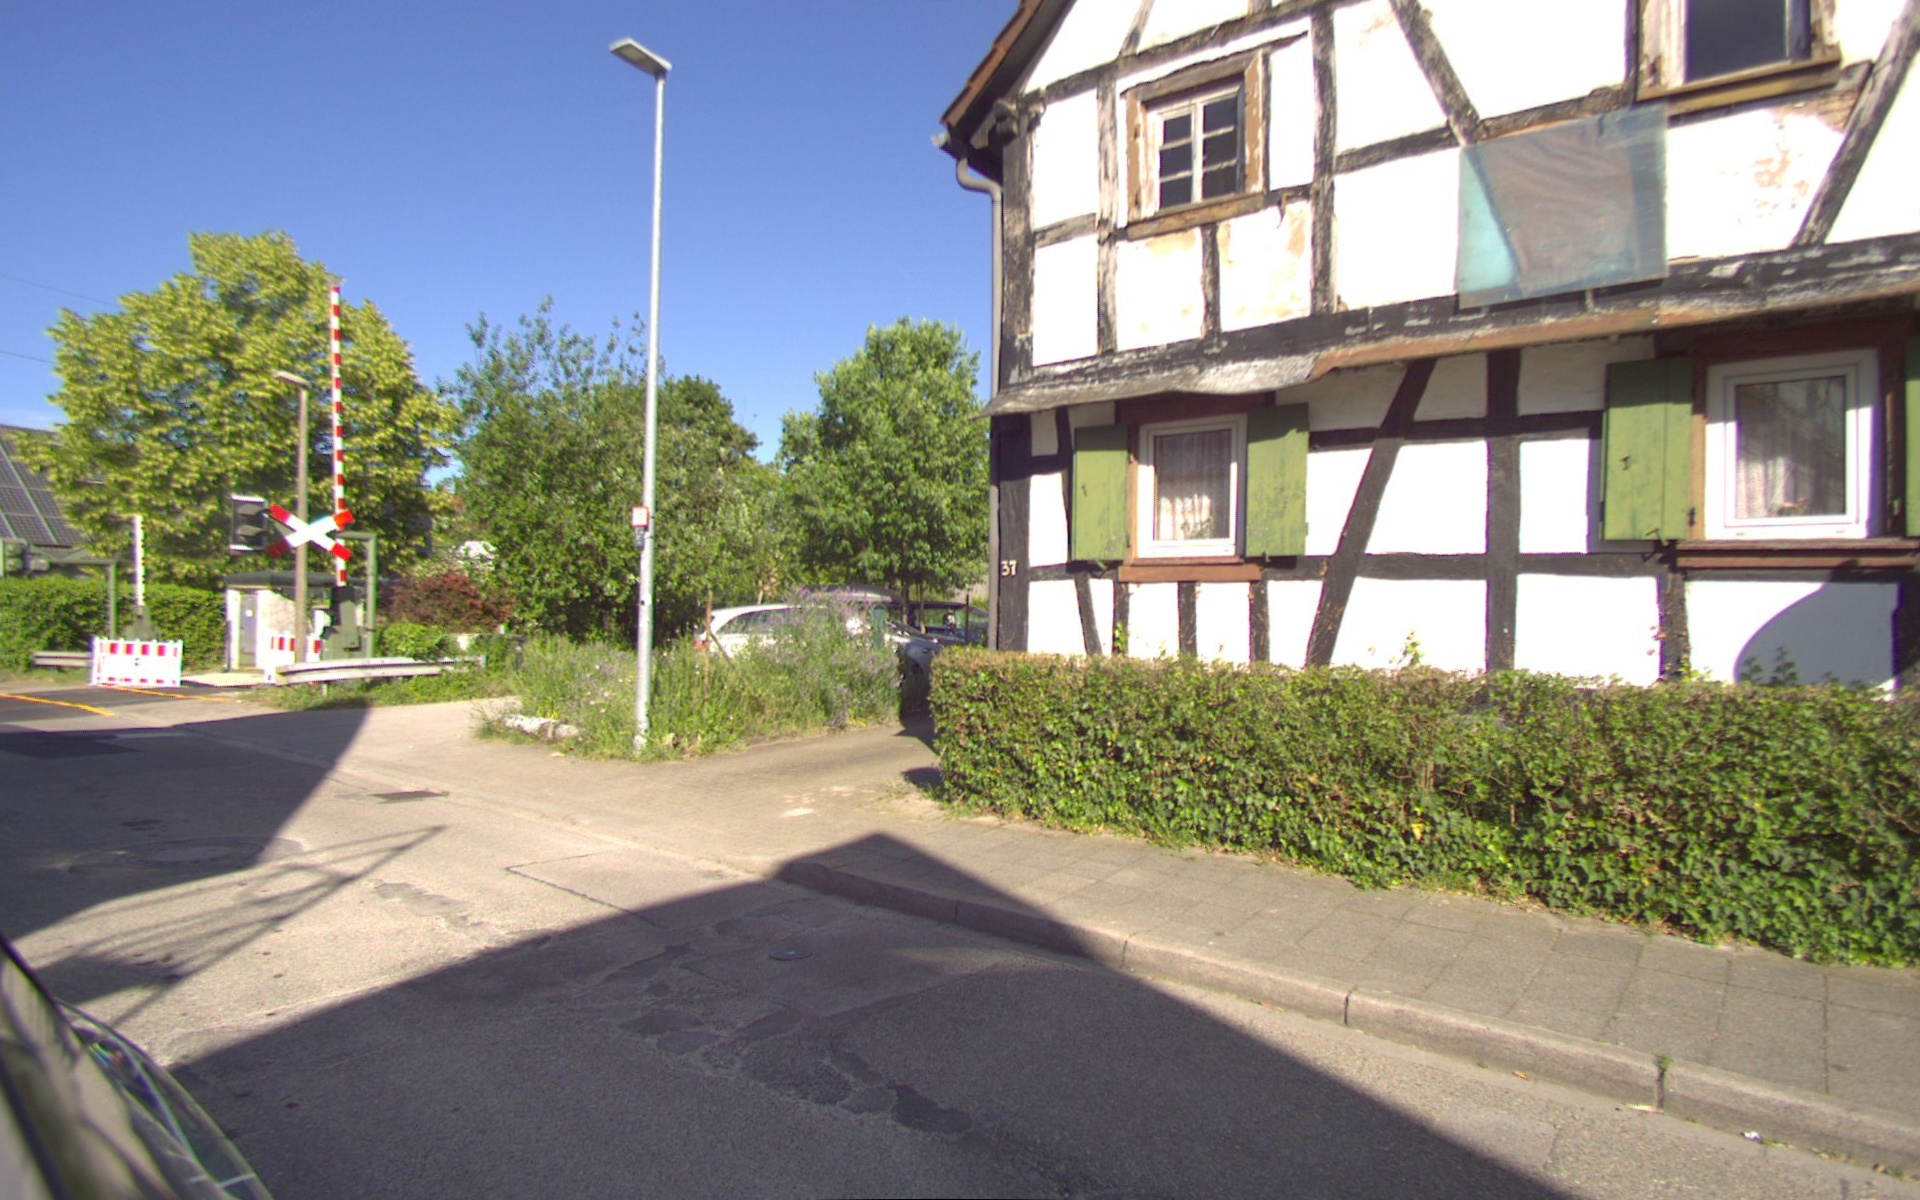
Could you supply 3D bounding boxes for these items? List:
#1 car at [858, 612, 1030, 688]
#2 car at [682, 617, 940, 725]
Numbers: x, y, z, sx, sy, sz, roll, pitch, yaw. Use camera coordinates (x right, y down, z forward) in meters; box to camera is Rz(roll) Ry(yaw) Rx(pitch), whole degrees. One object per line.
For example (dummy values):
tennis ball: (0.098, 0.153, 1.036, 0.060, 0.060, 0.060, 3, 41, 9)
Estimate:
car: (-0.416, 1.107, 22.996, 3.773, 1.646, 1.654, 0, -1, -6)
car: (-2.376, 1.101, 16.484, 3.938, 1.576, 1.691, 0, 0, -6)
